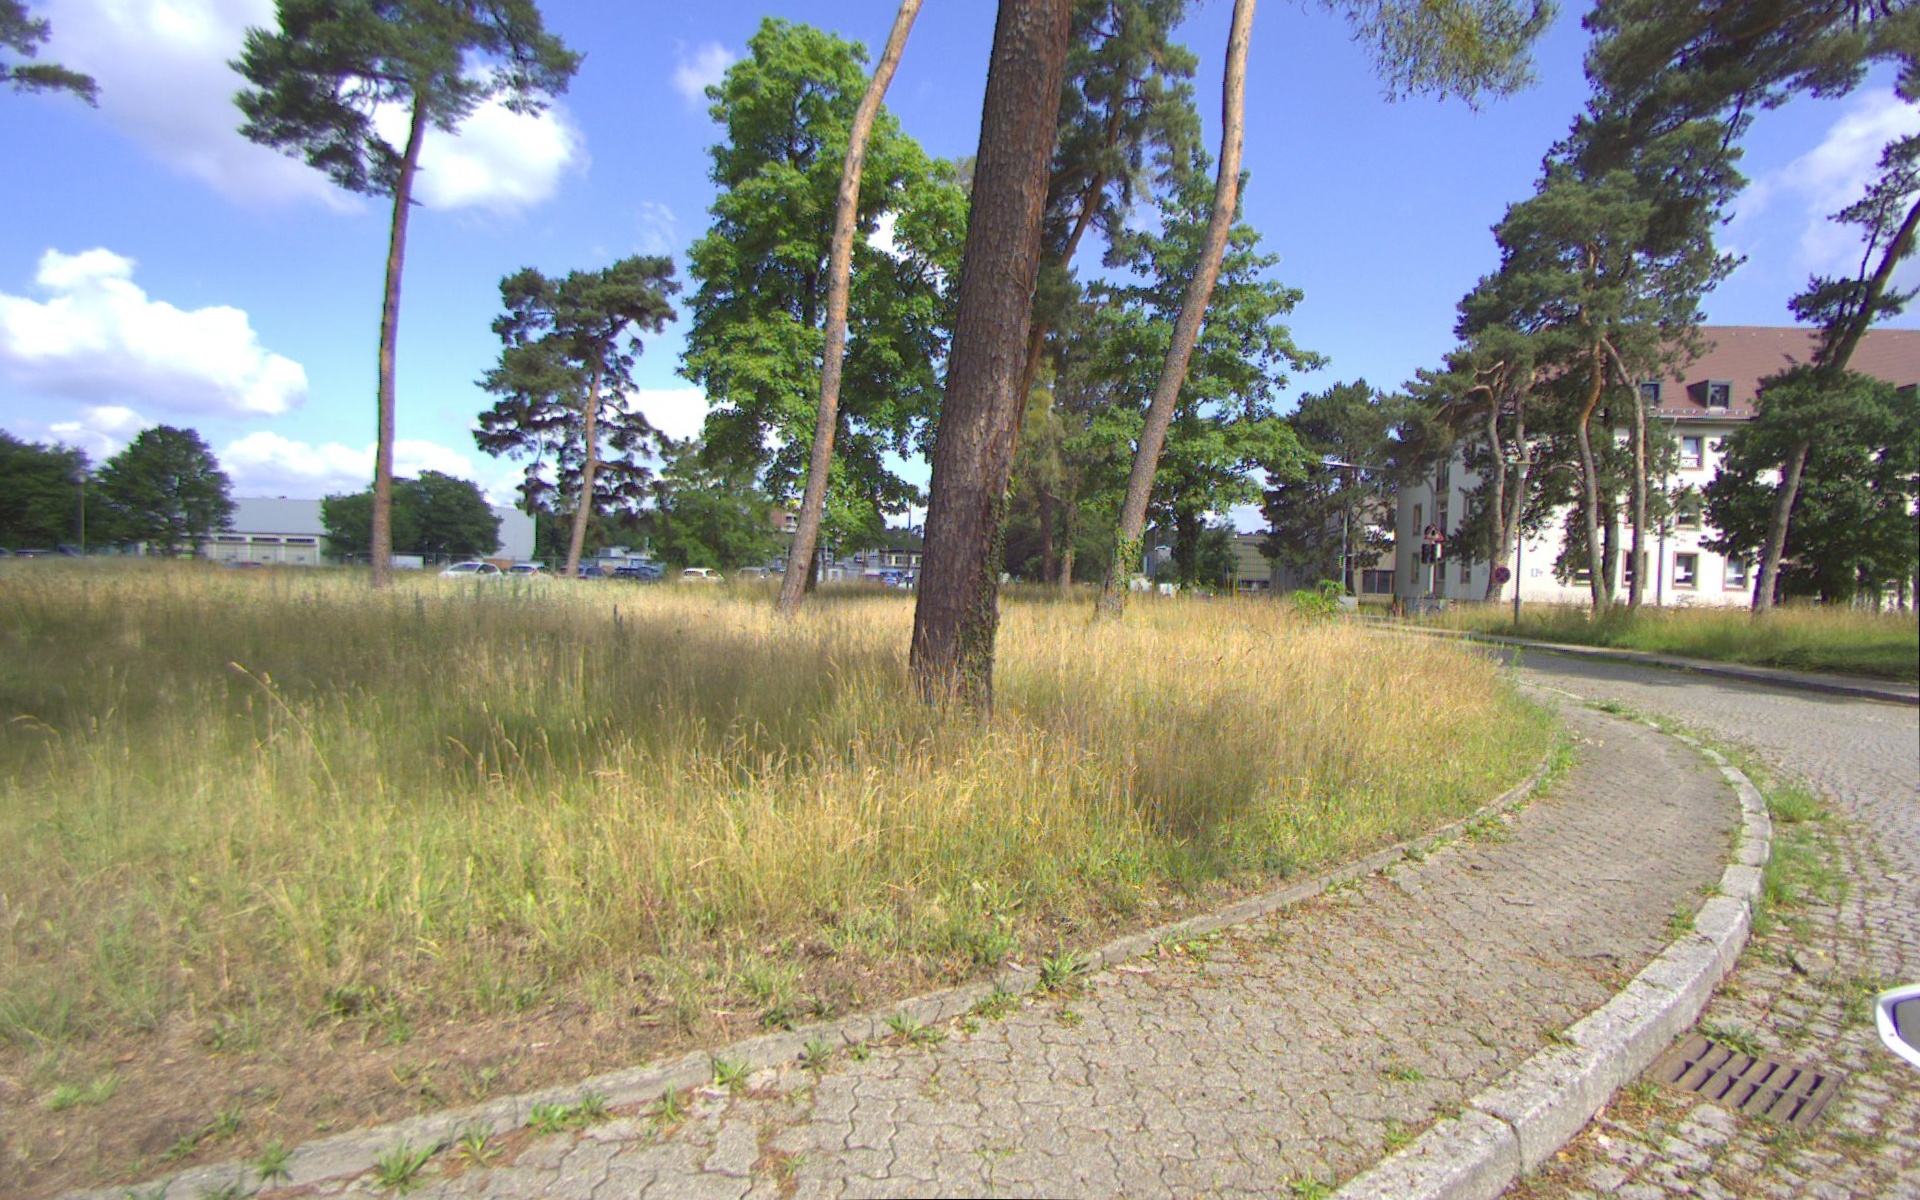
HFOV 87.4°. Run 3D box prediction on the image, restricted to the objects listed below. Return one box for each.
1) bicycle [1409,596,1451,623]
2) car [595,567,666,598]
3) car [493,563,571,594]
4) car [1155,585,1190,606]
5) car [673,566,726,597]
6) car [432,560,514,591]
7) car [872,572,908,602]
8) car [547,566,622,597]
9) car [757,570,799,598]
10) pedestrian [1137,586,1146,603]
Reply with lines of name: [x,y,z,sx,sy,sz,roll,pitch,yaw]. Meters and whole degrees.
bicycle: [20.516,0.394,43.830,1.554,1.115,0.491,2,1,15]
car: [-15.524,-0.810,47.498,1.863,1.327,4.080,2,1,2]
car: [-20.571,-1.010,48.425,1.863,1.356,4.080,2,1,2]
car: [22.953,-0.488,108.285,3.617,2.116,1.731,2,1,13]
car: [-15.174,-1.068,58.782,1.863,1.725,4.080,2,1,2]
car: [-23.554,-1.147,48.783,1.863,1.367,4.072,2,1,2]
car: [-4.557,-0.839,65.712,1.863,1.804,4.080,2,1,2]
car: [-17.838,-0.859,47.921,1.863,1.337,4.080,2,1,2]
car: [-12.066,-1.054,66.855,1.863,1.725,4.080,2,1,2]
pedestrian: [21.186,-0.633,117.334,0.949,2.041,1.055,2,1,11]
